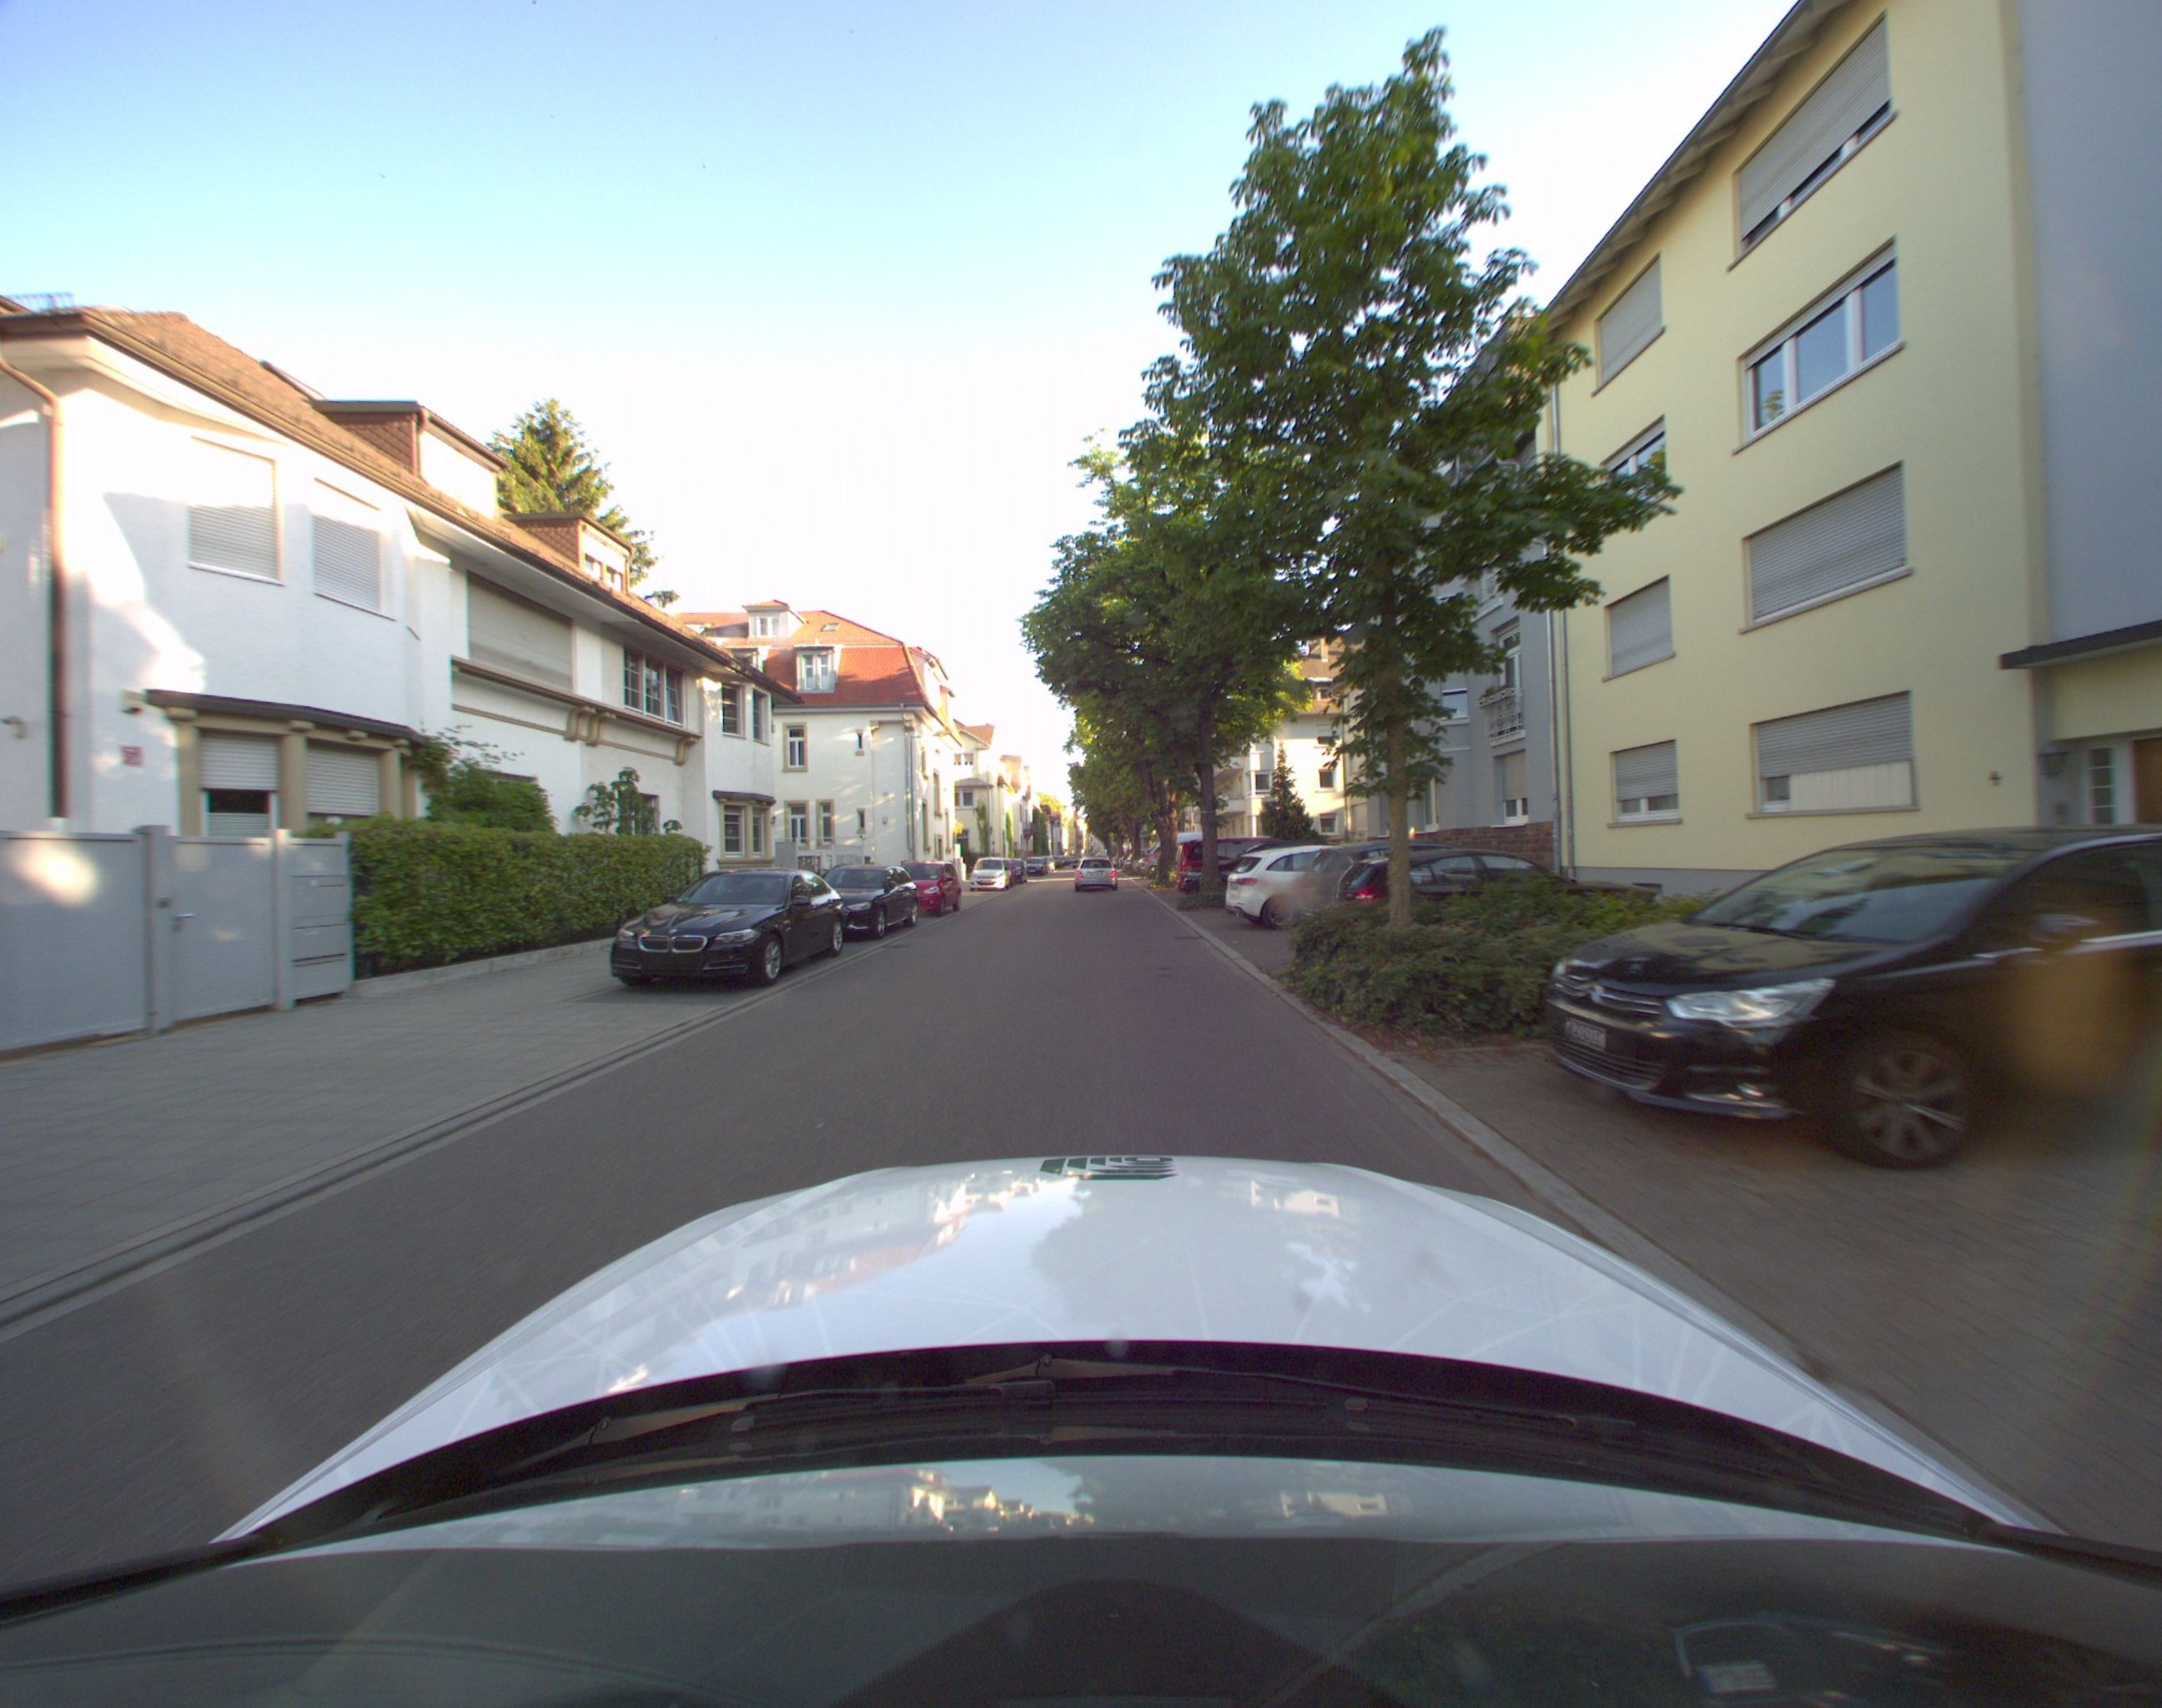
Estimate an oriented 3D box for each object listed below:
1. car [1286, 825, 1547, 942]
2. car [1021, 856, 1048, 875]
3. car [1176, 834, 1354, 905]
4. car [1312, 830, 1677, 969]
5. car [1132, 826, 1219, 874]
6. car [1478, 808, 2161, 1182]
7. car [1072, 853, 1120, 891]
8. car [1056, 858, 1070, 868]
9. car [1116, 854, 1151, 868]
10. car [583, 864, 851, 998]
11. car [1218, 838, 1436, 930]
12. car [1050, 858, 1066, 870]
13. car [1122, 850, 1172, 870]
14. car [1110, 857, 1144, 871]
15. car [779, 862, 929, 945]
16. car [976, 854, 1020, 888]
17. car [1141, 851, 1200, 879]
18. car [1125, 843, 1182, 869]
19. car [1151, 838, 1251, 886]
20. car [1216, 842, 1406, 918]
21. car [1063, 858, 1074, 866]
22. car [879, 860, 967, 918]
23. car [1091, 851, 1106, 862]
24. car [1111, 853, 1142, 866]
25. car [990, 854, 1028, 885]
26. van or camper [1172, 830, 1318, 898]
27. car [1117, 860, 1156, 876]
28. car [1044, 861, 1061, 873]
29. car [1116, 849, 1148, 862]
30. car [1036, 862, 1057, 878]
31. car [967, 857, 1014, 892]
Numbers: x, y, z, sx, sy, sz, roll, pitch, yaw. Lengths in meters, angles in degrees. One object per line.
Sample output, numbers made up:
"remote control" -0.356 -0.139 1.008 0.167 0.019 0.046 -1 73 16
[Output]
"car" 5.360 0.452 13.354 3.536 1.654 1.725 -2 0 -1
"car" -3.717 0.908 65.666 1.793 1.482 3.858 -1 0 1
"car" 5.119 0.411 23.121 4.610 1.836 1.954 -1 0 0
"car" 5.254 0.553 10.767 3.908 1.558 1.727 -2 0 3
"car" 6.412 -0.266 55.603 5.527 2.968 2.470 -2 0 -2
"car" 4.769 0.579 4.535 4.177 1.558 1.874 -2 0 -1
"car" 0.703 0.760 34.831 1.809 1.473 4.220 -2 -1 4
"car" -2.561 1.301 117.180 1.793 1.387 3.607 -1 0 1
"car" 5.804 0.774 90.268 3.830 1.482 1.806 -2 0 1
"car" -4.852 0.915 11.729 1.849 1.498 4.651 -1 -1 -2
"car" 4.709 0.552 15.957 3.719 1.558 1.725 -2 0 -1
"car" -2.966 1.282 105.404 1.793 1.387 3.607 -1 0 1
"car" 5.249 0.473 64.881 3.830 1.482 1.806 -2 0 1
"car" 5.207 1.113 92.704 3.830 1.482 1.806 -2 0 1
"car" -4.684 0.953 17.572 1.777 1.498 4.701 -1 -1 1
"car" -4.309 0.895 42.795 1.793 1.644 3.857 -1 -1 1
"car" 5.717 0.682 52.394 3.584 1.659 1.649 -2 0 -1
"car" 6.094 0.179 68.640 4.505 2.013 2.250 -2 0 -1
"car" 5.275 0.331 36.106 4.117 1.921 1.890 -2 0 -1
"car" 5.137 0.551 18.494 3.804 1.568 1.741 -1 0 -3
"car" -2.206 1.443 146.983 1.793 1.387 3.607 -1 0 1
"car" -4.416 0.944 23.298 1.653 1.488 3.755 -1 -1 1
"car" 2.507 0.337 114.798 1.809 1.473 4.220 -2 -1 4
"car" 5.821 0.731 103.885 3.830 1.482 1.806 -2 0 1
"car" -4.148 0.864 47.399 1.793 1.644 3.858 -1 0 1
"van or camper" 5.114 0.313 25.884 4.294 2.013 2.002 -1 0 3
"car" 5.554 1.415 82.269 3.830 1.482 1.806 -2 0 1
"car" -3.350 1.502 95.704 1.793 1.387 3.607 -1 0 1
"car" 6.223 0.142 99.528 3.830 1.482 1.806 -2 0 1
"car" -3.421 1.560 81.542 1.793 1.482 3.858 -1 0 1
"car" -4.174 0.923 38.126 1.653 1.499 3.755 -1 -1 1
